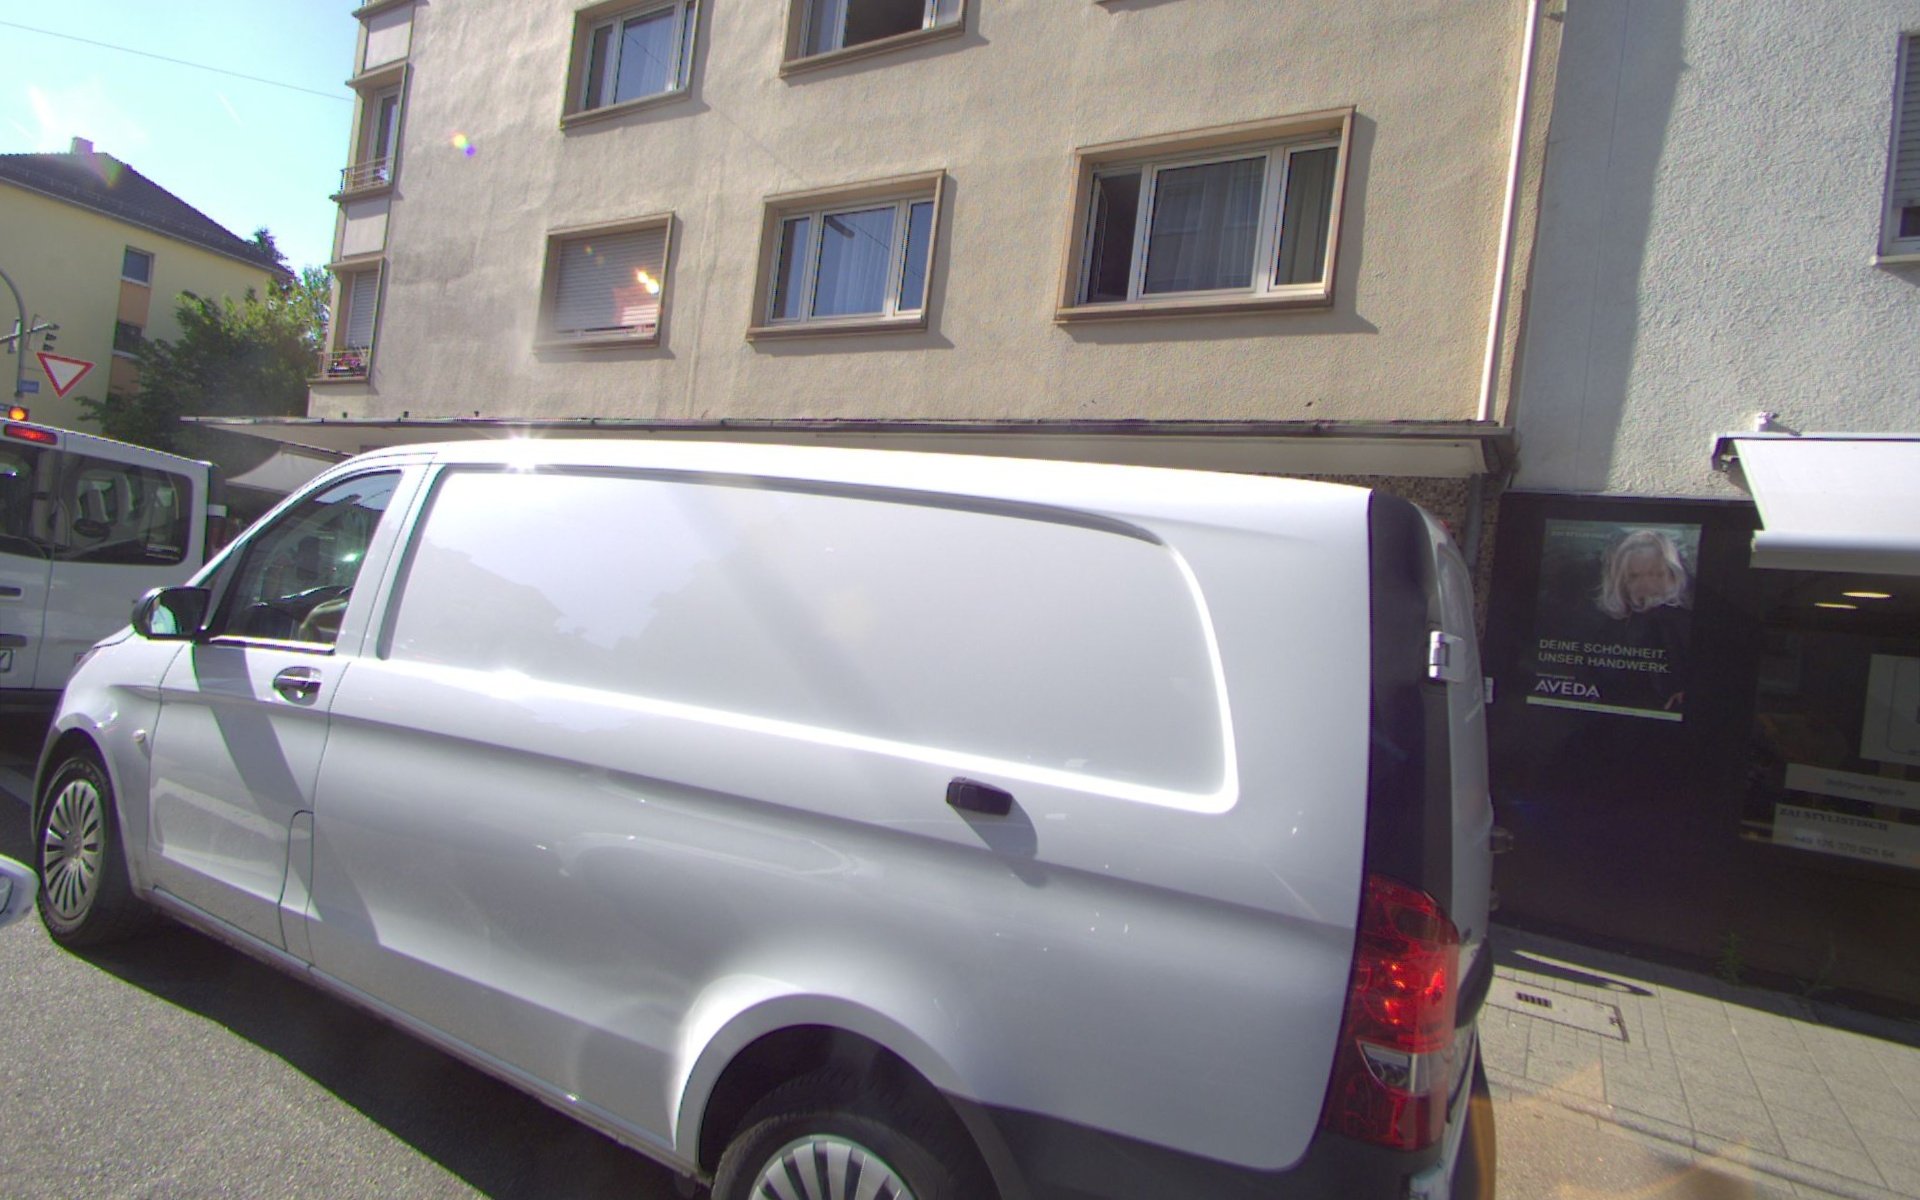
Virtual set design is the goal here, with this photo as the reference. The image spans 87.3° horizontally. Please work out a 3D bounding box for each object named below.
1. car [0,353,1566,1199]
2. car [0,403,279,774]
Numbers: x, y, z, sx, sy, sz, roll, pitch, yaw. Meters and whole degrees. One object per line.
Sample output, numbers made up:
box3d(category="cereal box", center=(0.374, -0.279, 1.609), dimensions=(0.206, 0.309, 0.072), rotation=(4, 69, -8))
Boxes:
box3d(category="car", center=(-1.003, 0.437, 3.347), dimensions=(4.910, 1.891, 1.840), rotation=(7, -1, 29))
box3d(category="car", center=(-7.120, -0.258, 6.932), dimensions=(4.813, 2.001, 1.999), rotation=(7, -3, 31))
